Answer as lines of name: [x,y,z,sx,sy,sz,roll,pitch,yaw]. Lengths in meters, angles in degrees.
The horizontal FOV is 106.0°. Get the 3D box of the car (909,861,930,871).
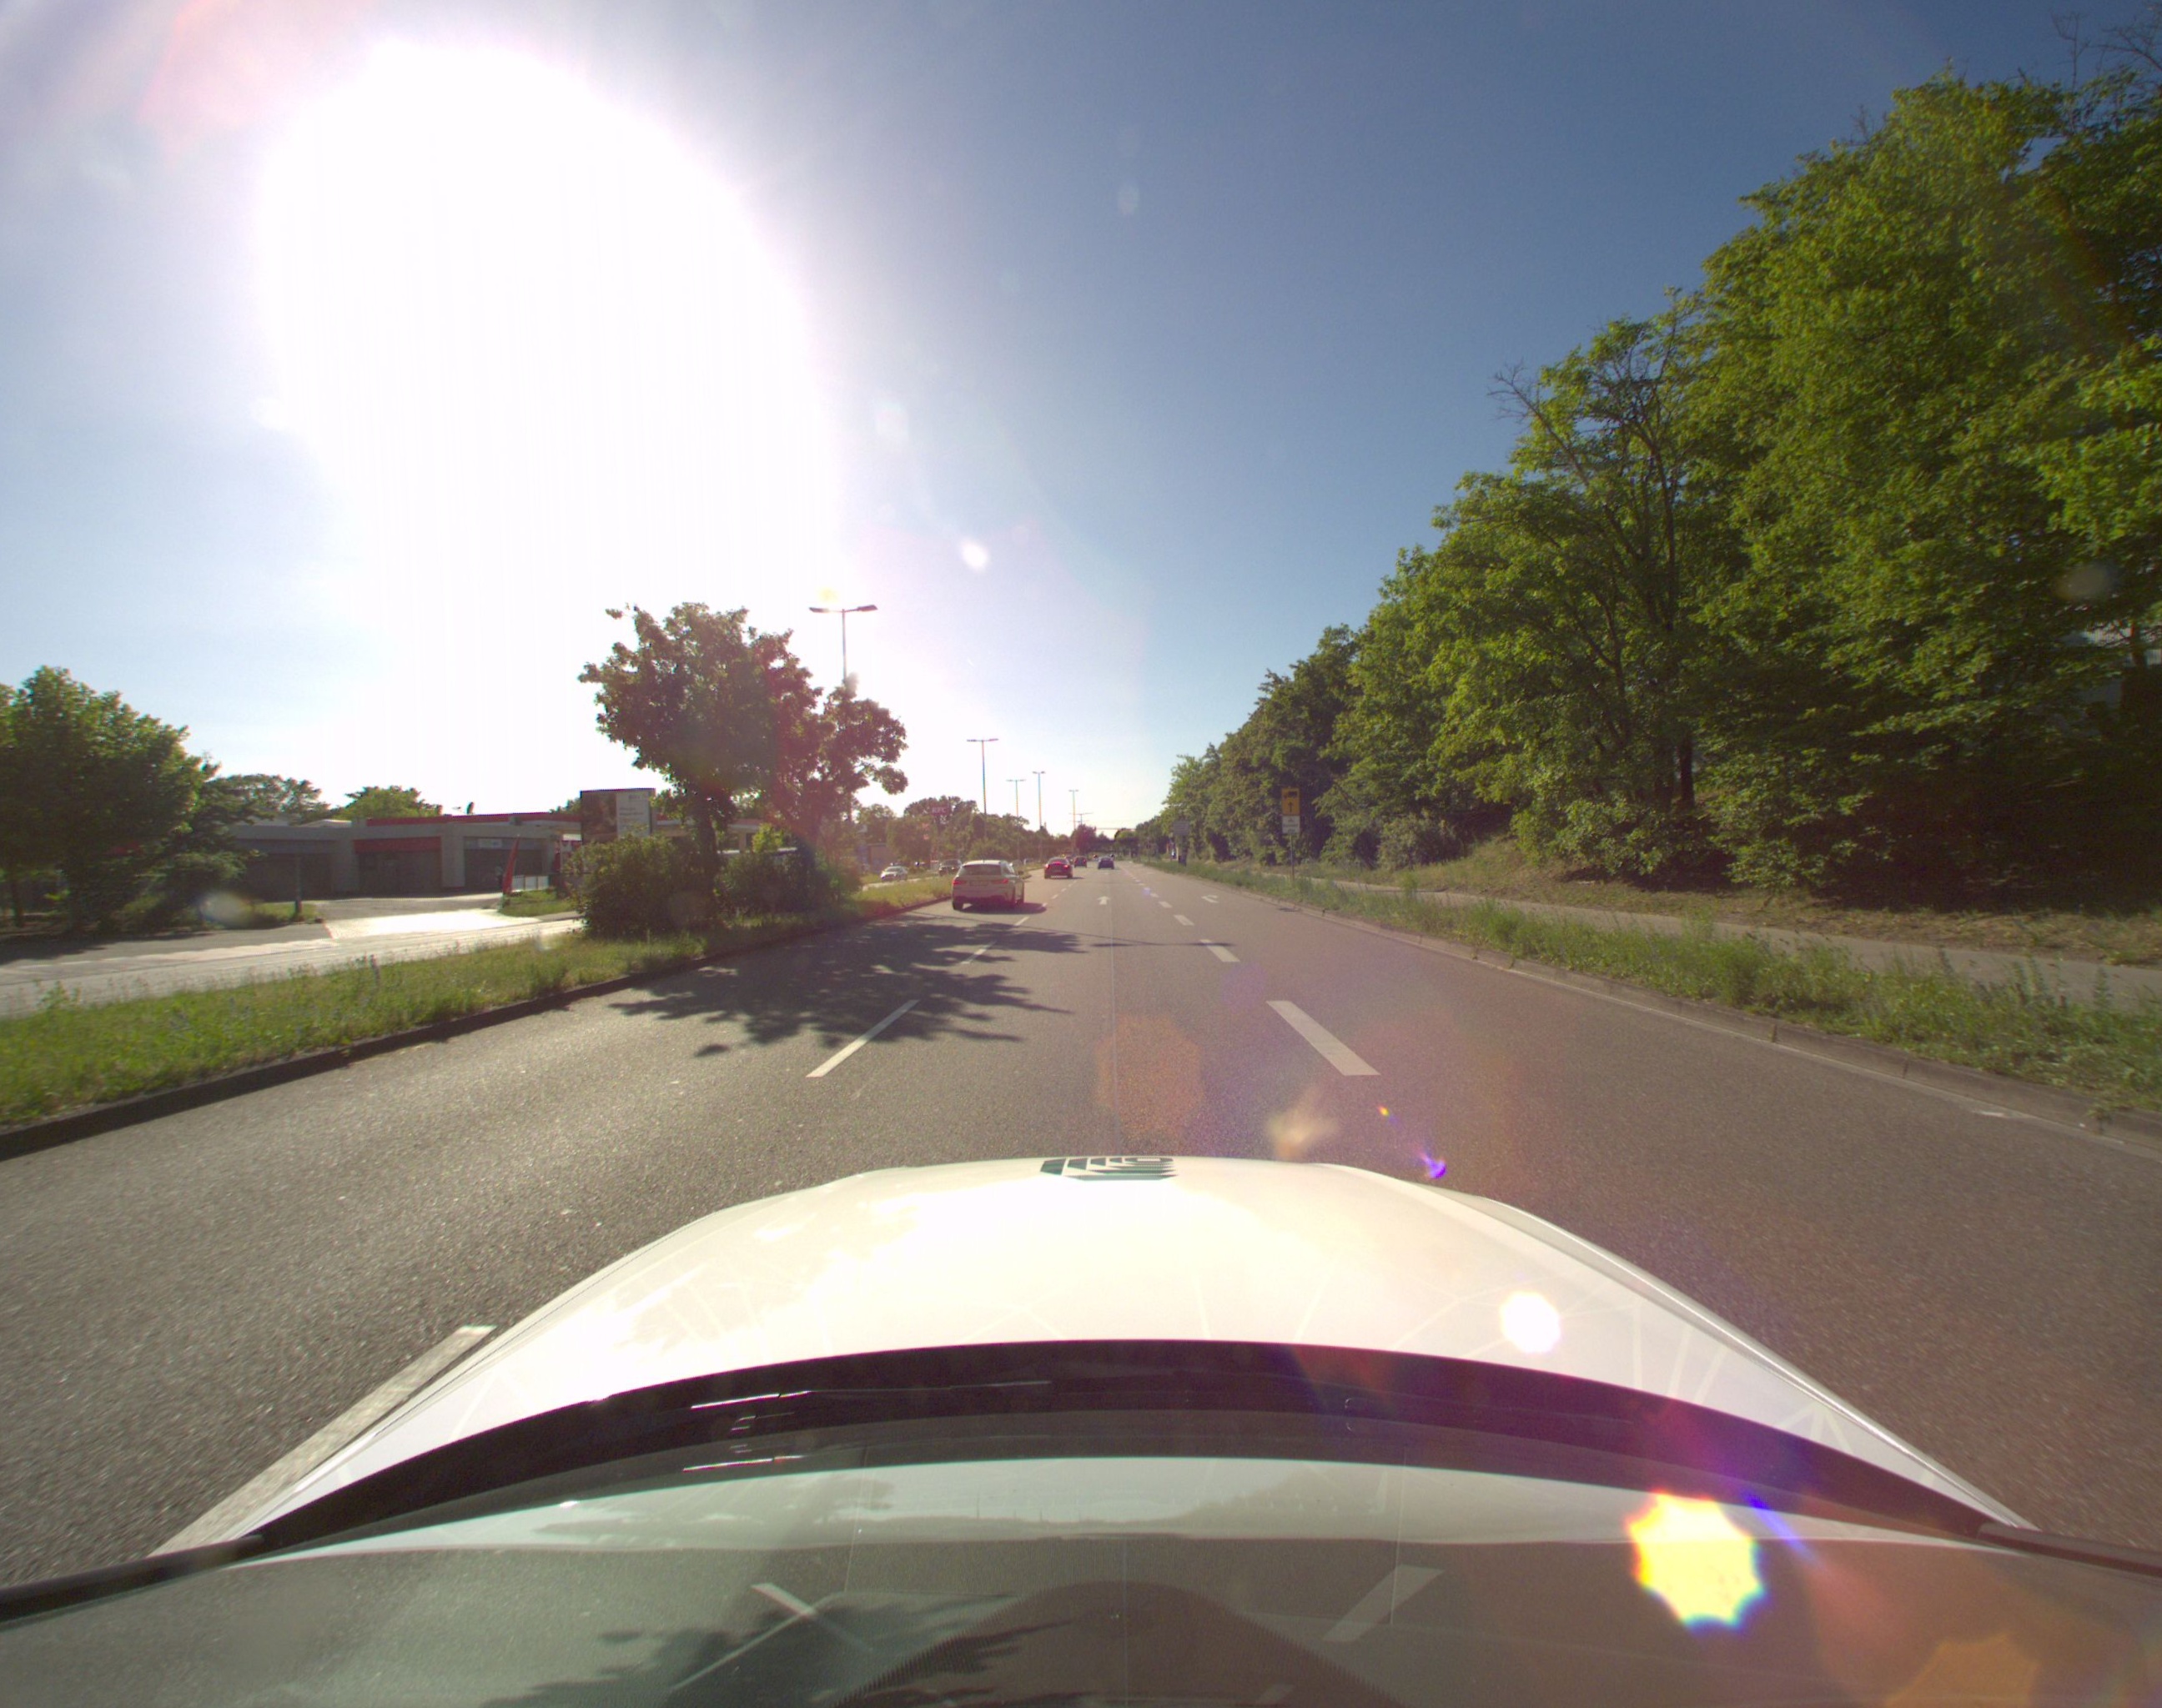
car: [-30.634,2.318,154.469,1.938,1.783,4.037,-2,0,-42]

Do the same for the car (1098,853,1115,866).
car: [2.950,0.630,95.005,1.855,1.499,4.338,-2,0,2]

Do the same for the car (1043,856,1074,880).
car: [-1.561,0.959,57.388,1.855,1.455,4.549,-3,0,2]

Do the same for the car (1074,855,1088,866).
car: [0.024,0.894,114.057,1.855,1.565,4.549,-2,0,2]

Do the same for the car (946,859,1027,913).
car: [-2.818,0.914,25.306,1.855,1.455,4.549,0,1,1]

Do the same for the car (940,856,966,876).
car: [-13.563,1.252,86.657,1.733,1.802,4.674,-5,0,2]

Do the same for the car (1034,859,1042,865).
car: [-11.958,2.243,225.676,1.697,1.402,3.724,-2,0,2]

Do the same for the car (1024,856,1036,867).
car: [-8.057,1.165,128.408,1.488,1.508,3.488,-2,0,2]

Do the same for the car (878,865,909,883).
car: [-17.461,1.804,75.994,1.733,1.455,4.211,-4,0,2]
